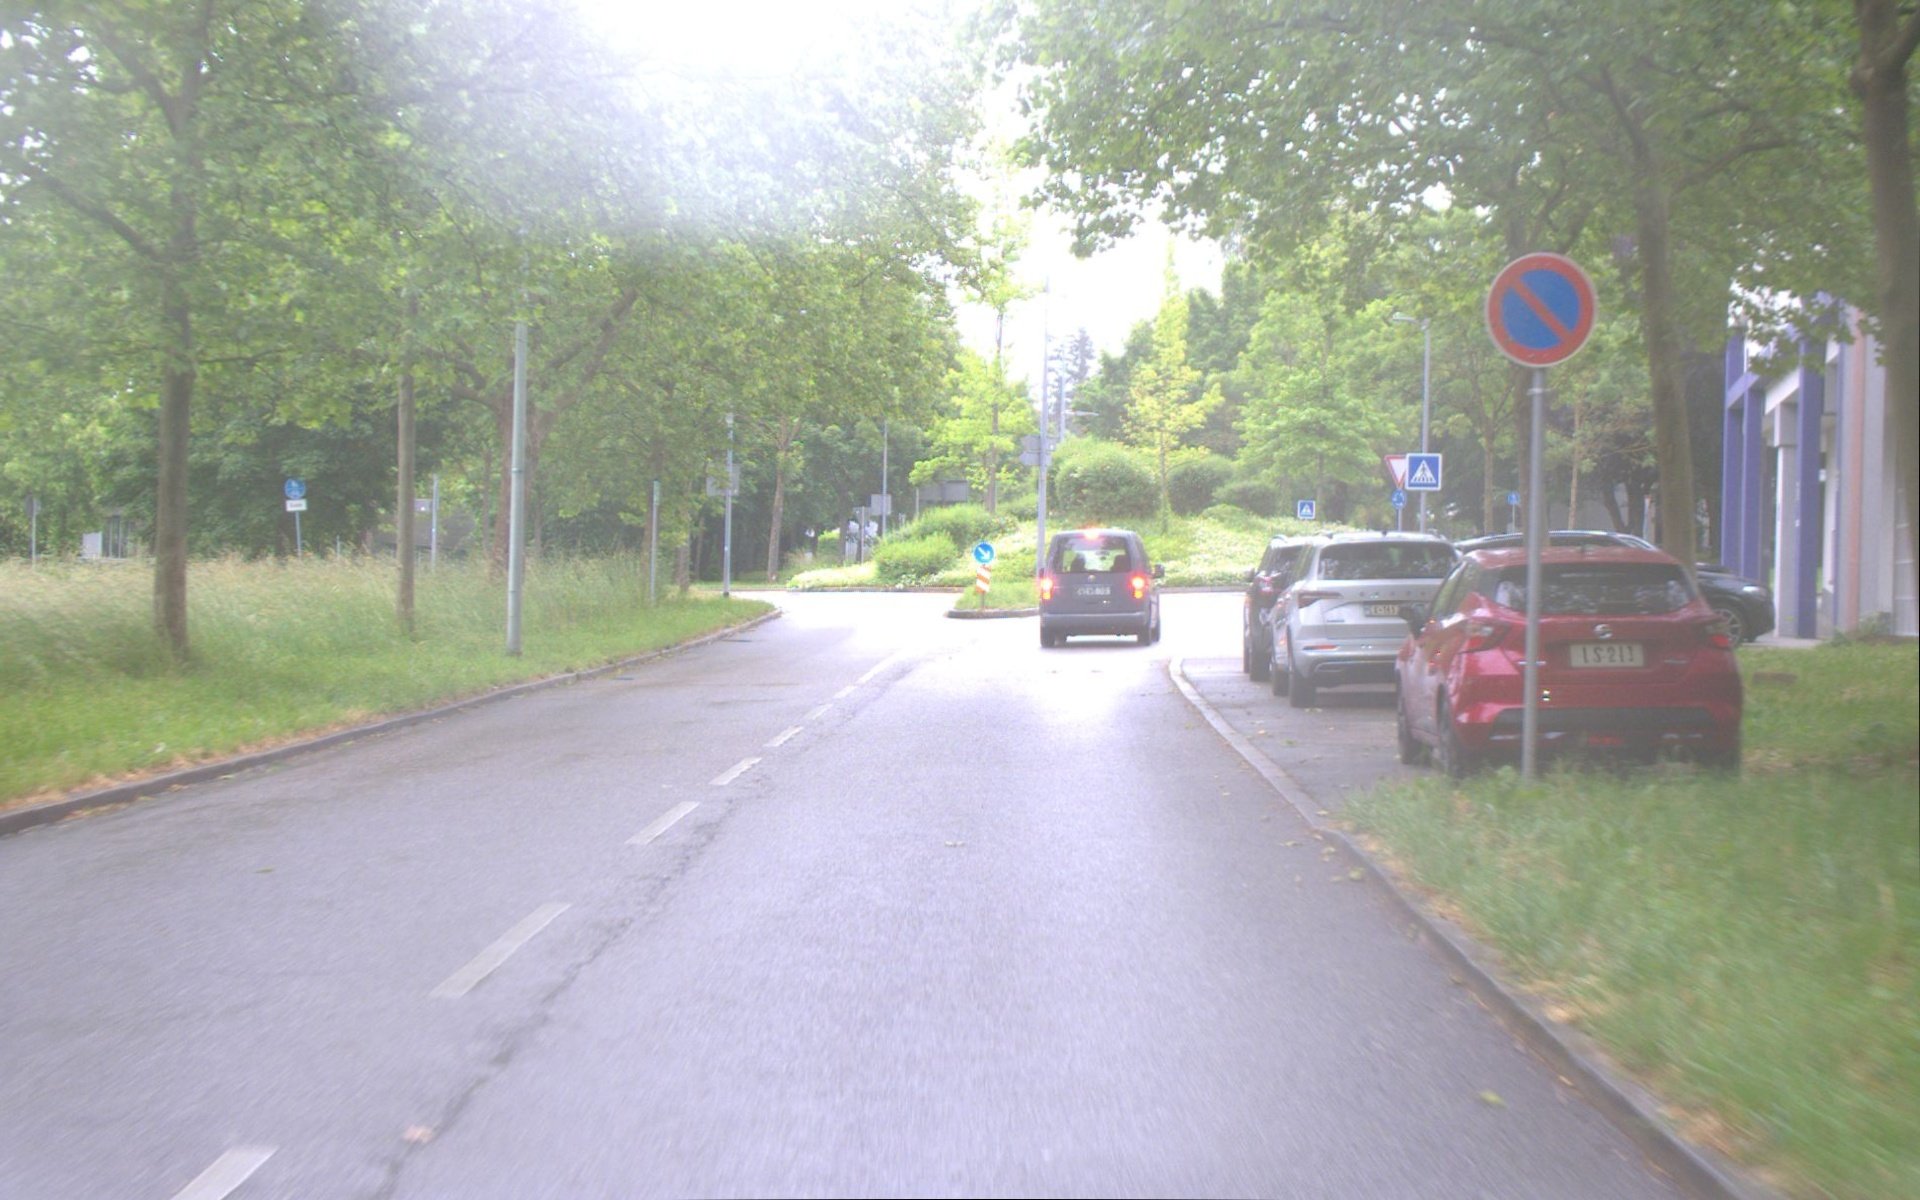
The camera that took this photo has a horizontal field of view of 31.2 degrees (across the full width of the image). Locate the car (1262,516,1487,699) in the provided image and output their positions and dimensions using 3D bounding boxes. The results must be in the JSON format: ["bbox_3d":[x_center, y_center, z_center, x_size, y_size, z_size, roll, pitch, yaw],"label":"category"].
[{"bbox_3d":[3.864,0.042,32.611,1.728,1.586,4.253,-1,1,2],"label":"car"}]

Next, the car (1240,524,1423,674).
[{"bbox_3d":[4.152,-0.033,38.939,1.801,1.596,4.371,0,1,3],"label":"car"}]

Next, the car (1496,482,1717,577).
[{"bbox_3d":[13.390,-1.478,71.416,4.379,1.753,1.829,2,3,8],"label":"car"}]

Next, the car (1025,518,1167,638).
[{"bbox_3d":[2.219,-0.387,55.132,1.919,1.795,3.789,-2,1,7],"label":"car"}]

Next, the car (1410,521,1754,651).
[{"bbox_3d":[8.528,-0.216,47.409,4.471,1.674,1.767,1,2,4],"label":"car"}]

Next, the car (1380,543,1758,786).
[{"bbox_3d":[3.686,0.342,21.405,1.797,1.367,3.744,-1,1,2],"label":"car"}]
